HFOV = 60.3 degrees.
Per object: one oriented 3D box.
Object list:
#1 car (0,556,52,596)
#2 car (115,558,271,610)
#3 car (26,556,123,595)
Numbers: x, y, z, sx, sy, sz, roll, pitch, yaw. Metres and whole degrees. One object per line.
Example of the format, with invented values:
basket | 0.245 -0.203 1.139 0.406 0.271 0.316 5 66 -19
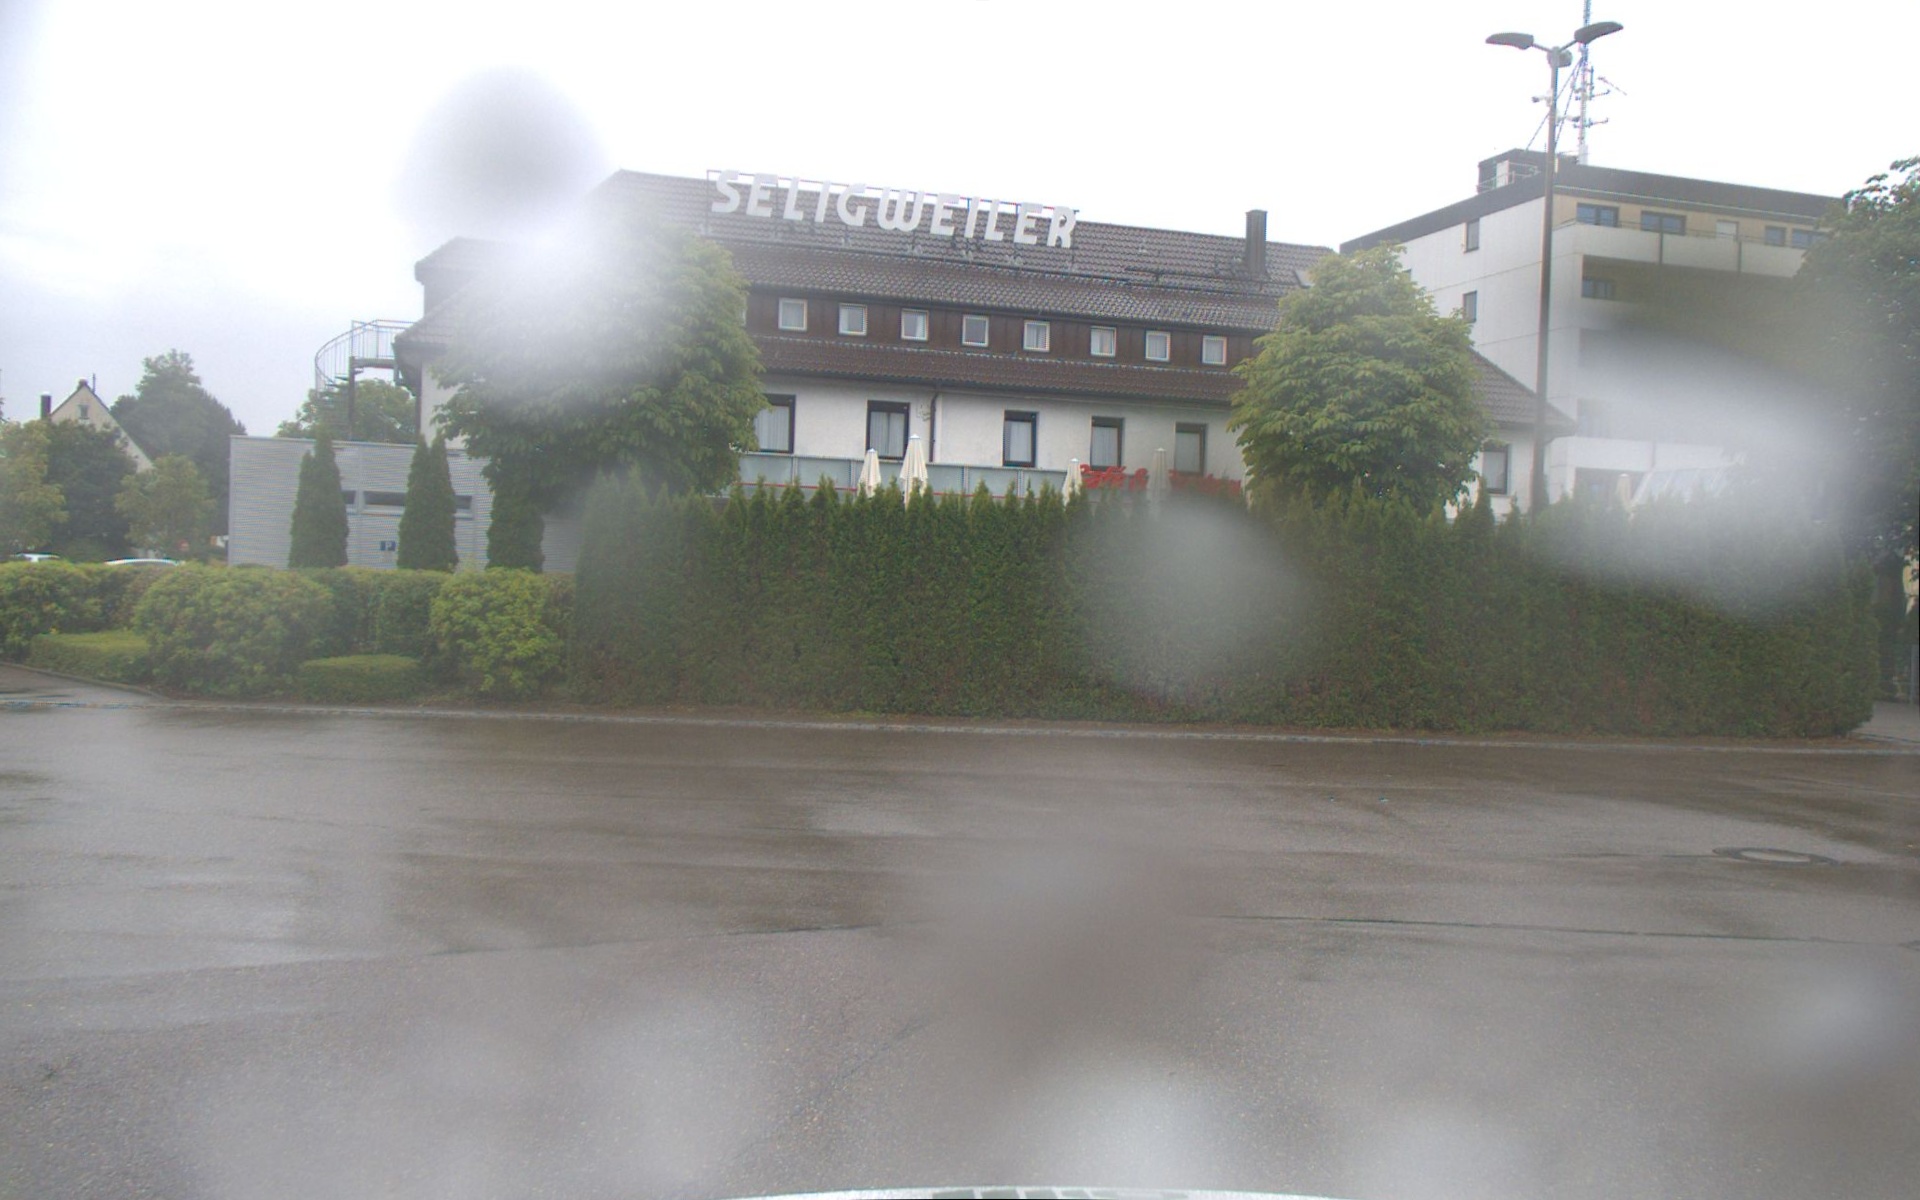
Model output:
car | -36.295 -0.930 62.666 3.596 1.483 1.584 1 2 26
car | -23.208 -0.488 50.179 4.112 1.523 1.709 0 1 -19
car | -34.792 -0.976 64.955 3.596 1.483 1.584 1 2 26
